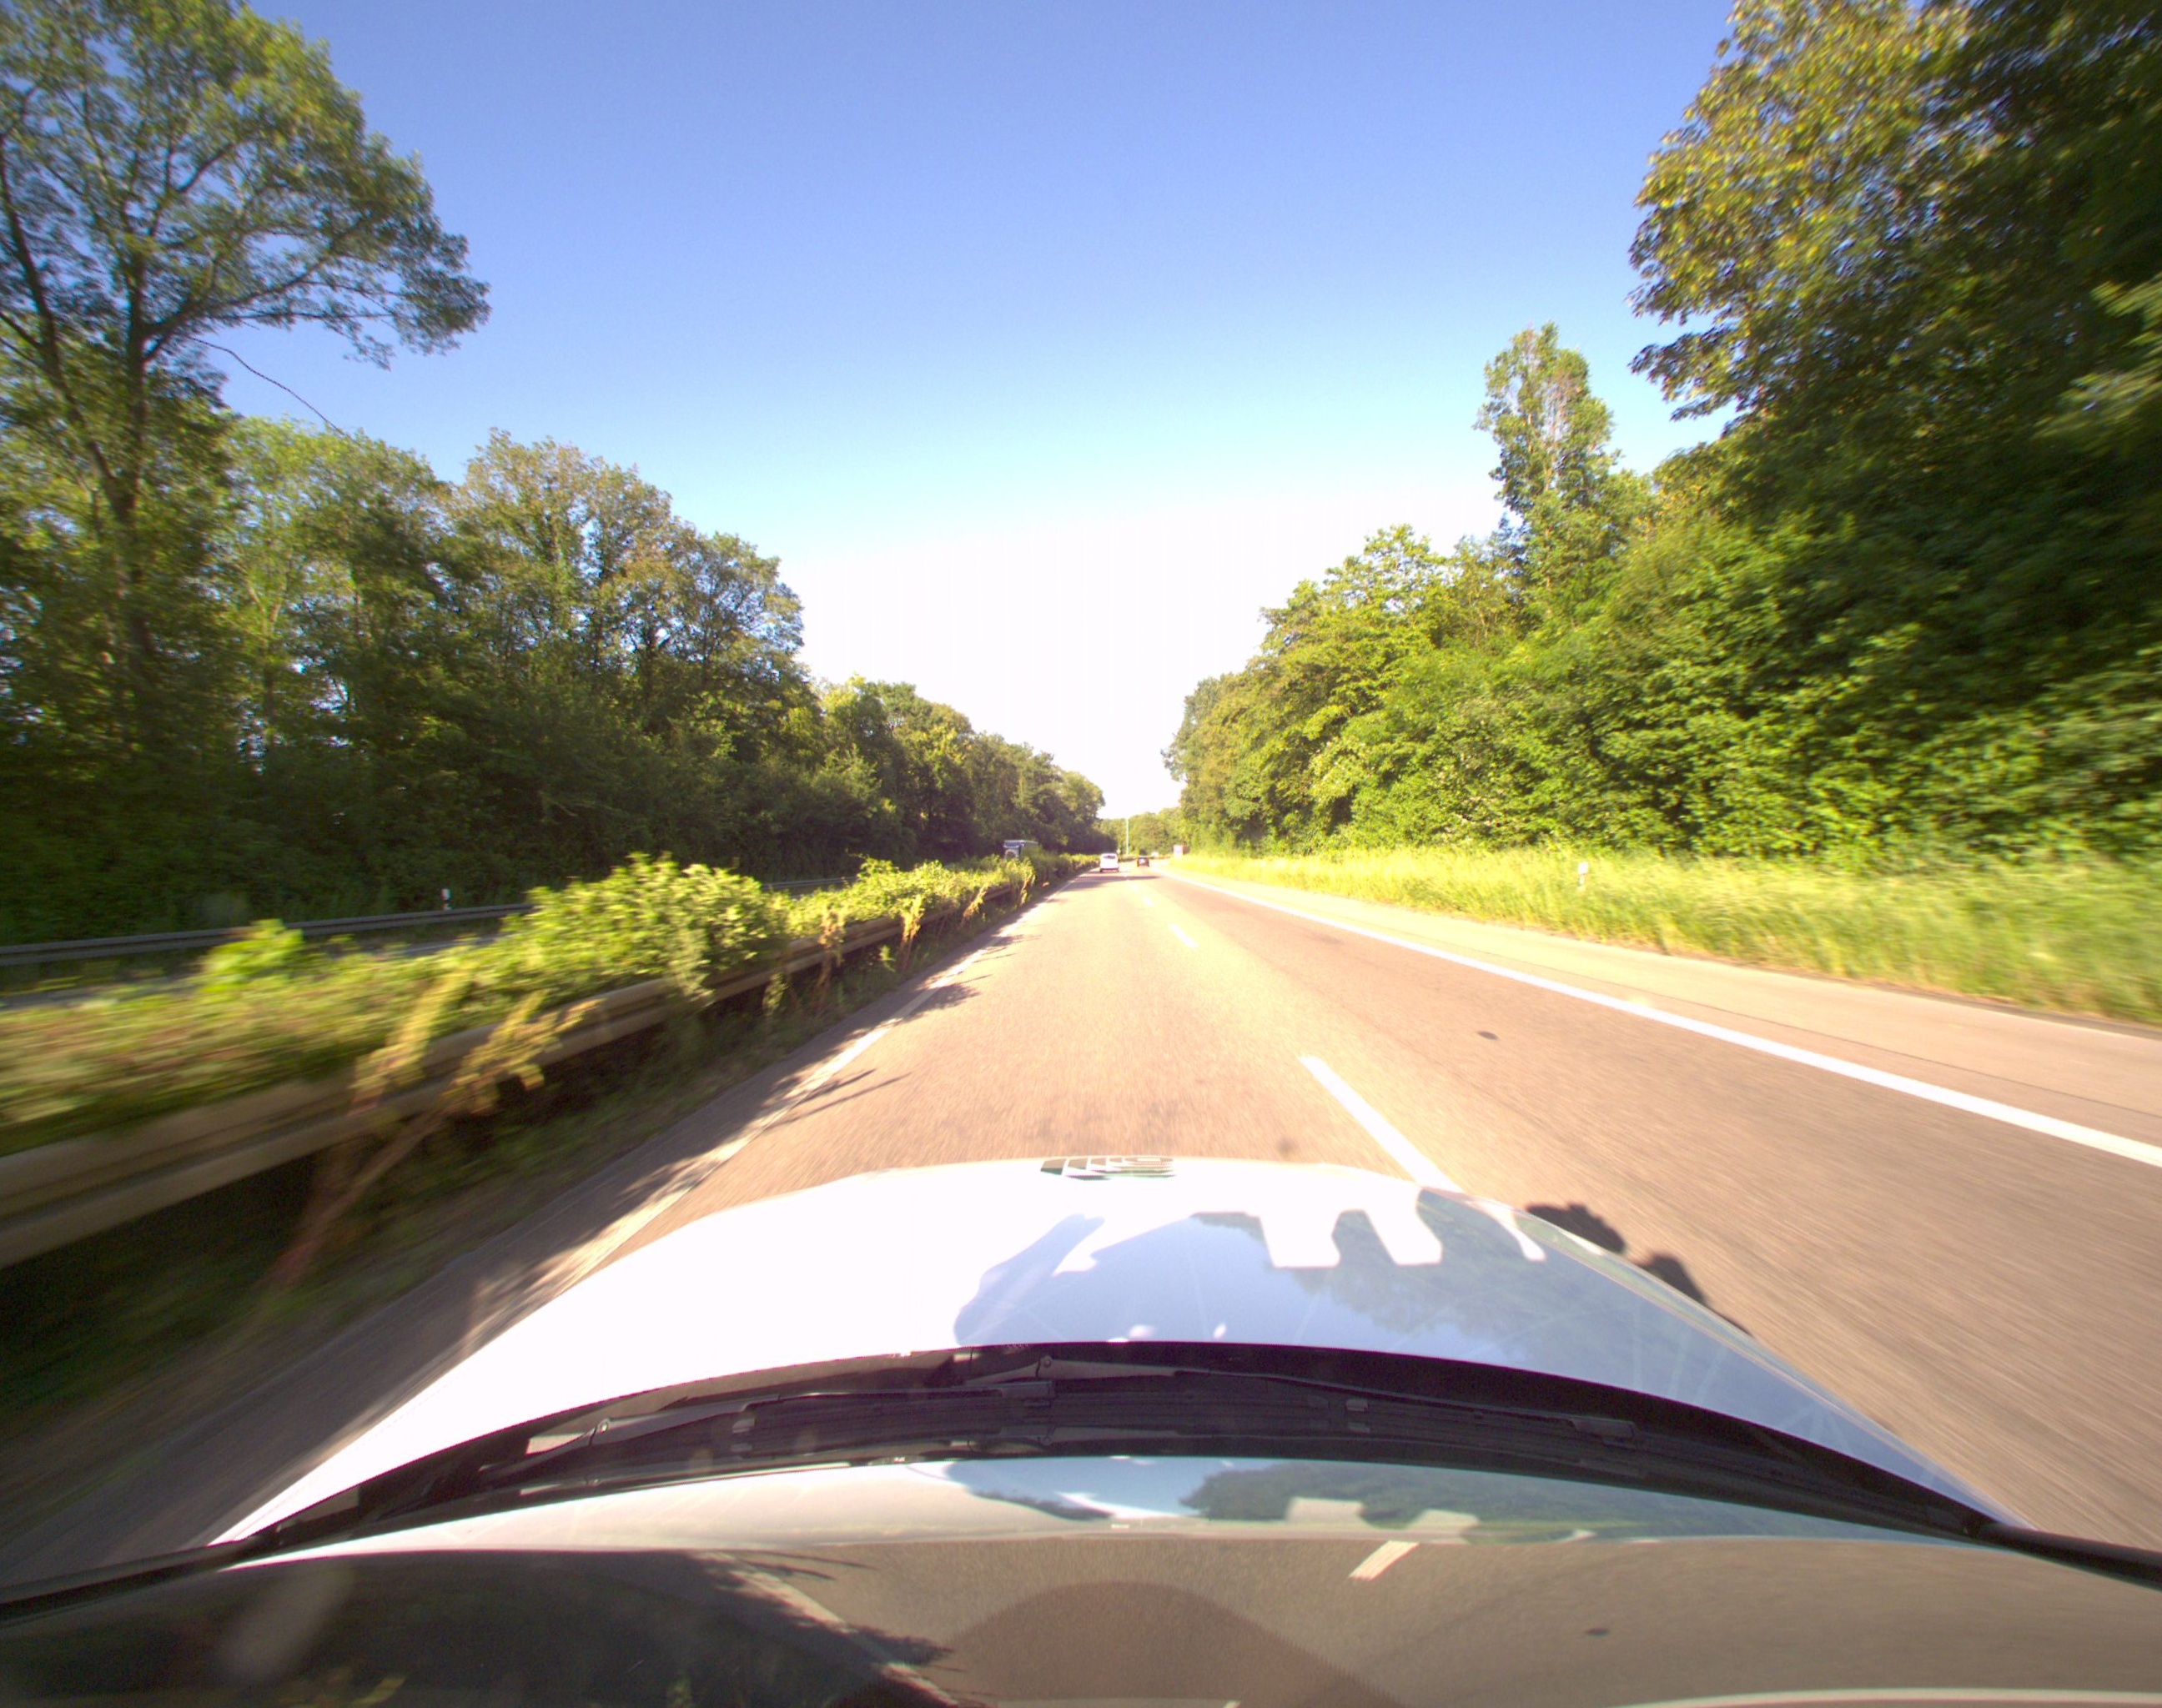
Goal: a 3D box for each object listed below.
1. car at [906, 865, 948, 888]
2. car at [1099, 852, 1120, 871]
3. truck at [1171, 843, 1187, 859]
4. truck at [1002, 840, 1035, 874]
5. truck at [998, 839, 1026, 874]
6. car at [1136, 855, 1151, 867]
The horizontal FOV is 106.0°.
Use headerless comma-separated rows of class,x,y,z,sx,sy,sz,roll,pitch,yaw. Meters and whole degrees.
car,-10.048,1.424,53.385,1.793,1.442,4.438,-1,-1,2
car,2.728,0.766,79.270,1.944,1.782,4.588,-1,-1,1
truck,27.790,-0.772,230.751,3.710,4.343,9.334,-1,-1,12
truck,-8.124,0.422,107.343,2.697,4.097,14.029,-1,-1,2
truck,-8.431,0.348,100.208,2.705,4.097,5.439,-1,-1,2
car,9.029,1.000,118.133,1.944,1.782,4.588,-1,-1,1
